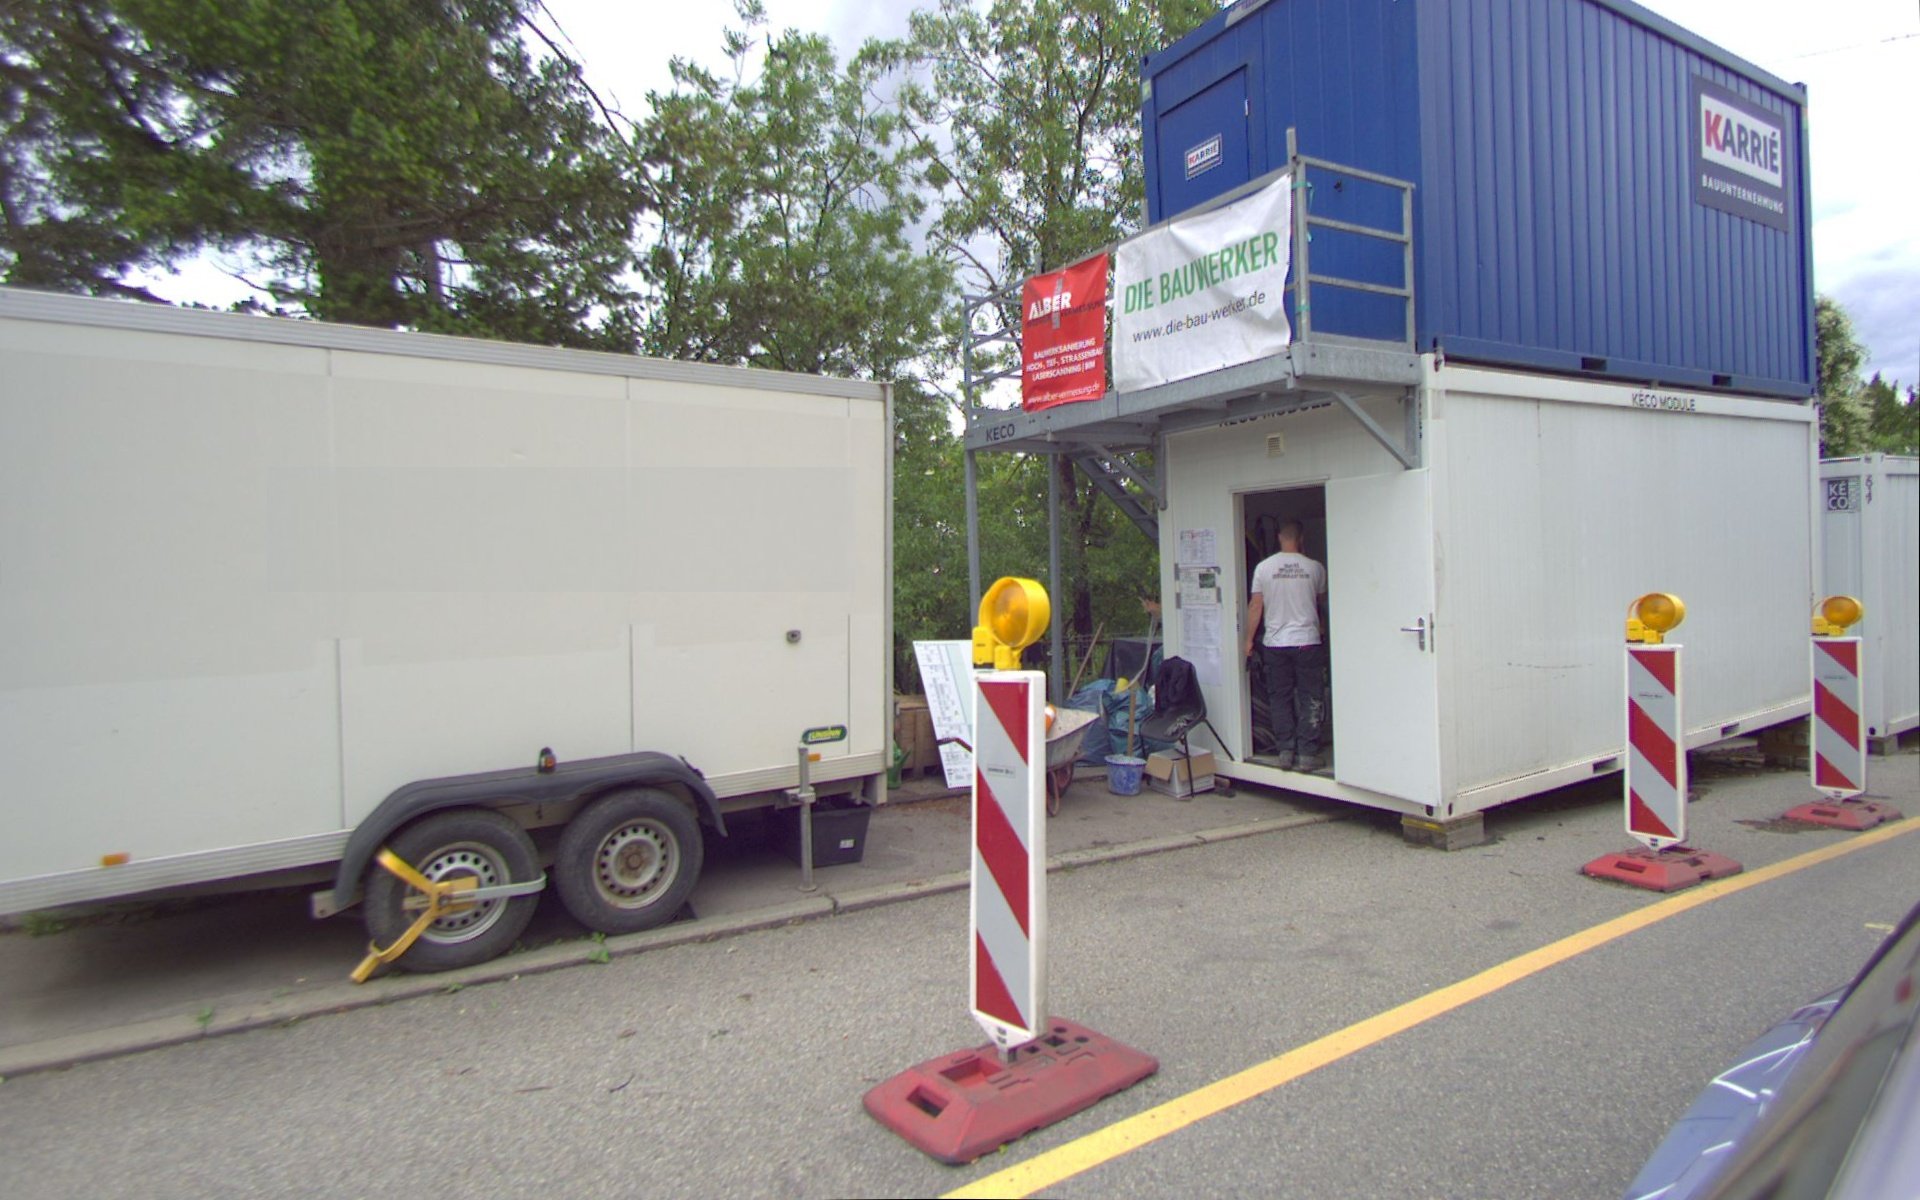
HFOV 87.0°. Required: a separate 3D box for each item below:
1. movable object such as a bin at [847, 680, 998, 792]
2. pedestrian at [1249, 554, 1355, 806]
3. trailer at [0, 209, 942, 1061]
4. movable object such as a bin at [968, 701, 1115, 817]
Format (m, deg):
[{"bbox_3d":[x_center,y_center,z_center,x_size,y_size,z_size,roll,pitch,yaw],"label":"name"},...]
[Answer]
[{"bbox_3d":[-0.279,0.972,7.454,0.869,0.648,0.707,0,2,-34],"label":"movable object such as a bin"},{"bbox_3d":[2.399,0.539,7.164,0.641,1.683,0.647,-1,-1,16],"label":"pedestrian"},{"bbox_3d":[-2.742,0.073,4.511,5.024,2.581,2.113,0,2,-37],"label":"trailer"},{"bbox_3d":[0.577,1.055,6.933,0.596,0.604,1.040,0,-1,33],"label":"movable object such as a bin"}]
